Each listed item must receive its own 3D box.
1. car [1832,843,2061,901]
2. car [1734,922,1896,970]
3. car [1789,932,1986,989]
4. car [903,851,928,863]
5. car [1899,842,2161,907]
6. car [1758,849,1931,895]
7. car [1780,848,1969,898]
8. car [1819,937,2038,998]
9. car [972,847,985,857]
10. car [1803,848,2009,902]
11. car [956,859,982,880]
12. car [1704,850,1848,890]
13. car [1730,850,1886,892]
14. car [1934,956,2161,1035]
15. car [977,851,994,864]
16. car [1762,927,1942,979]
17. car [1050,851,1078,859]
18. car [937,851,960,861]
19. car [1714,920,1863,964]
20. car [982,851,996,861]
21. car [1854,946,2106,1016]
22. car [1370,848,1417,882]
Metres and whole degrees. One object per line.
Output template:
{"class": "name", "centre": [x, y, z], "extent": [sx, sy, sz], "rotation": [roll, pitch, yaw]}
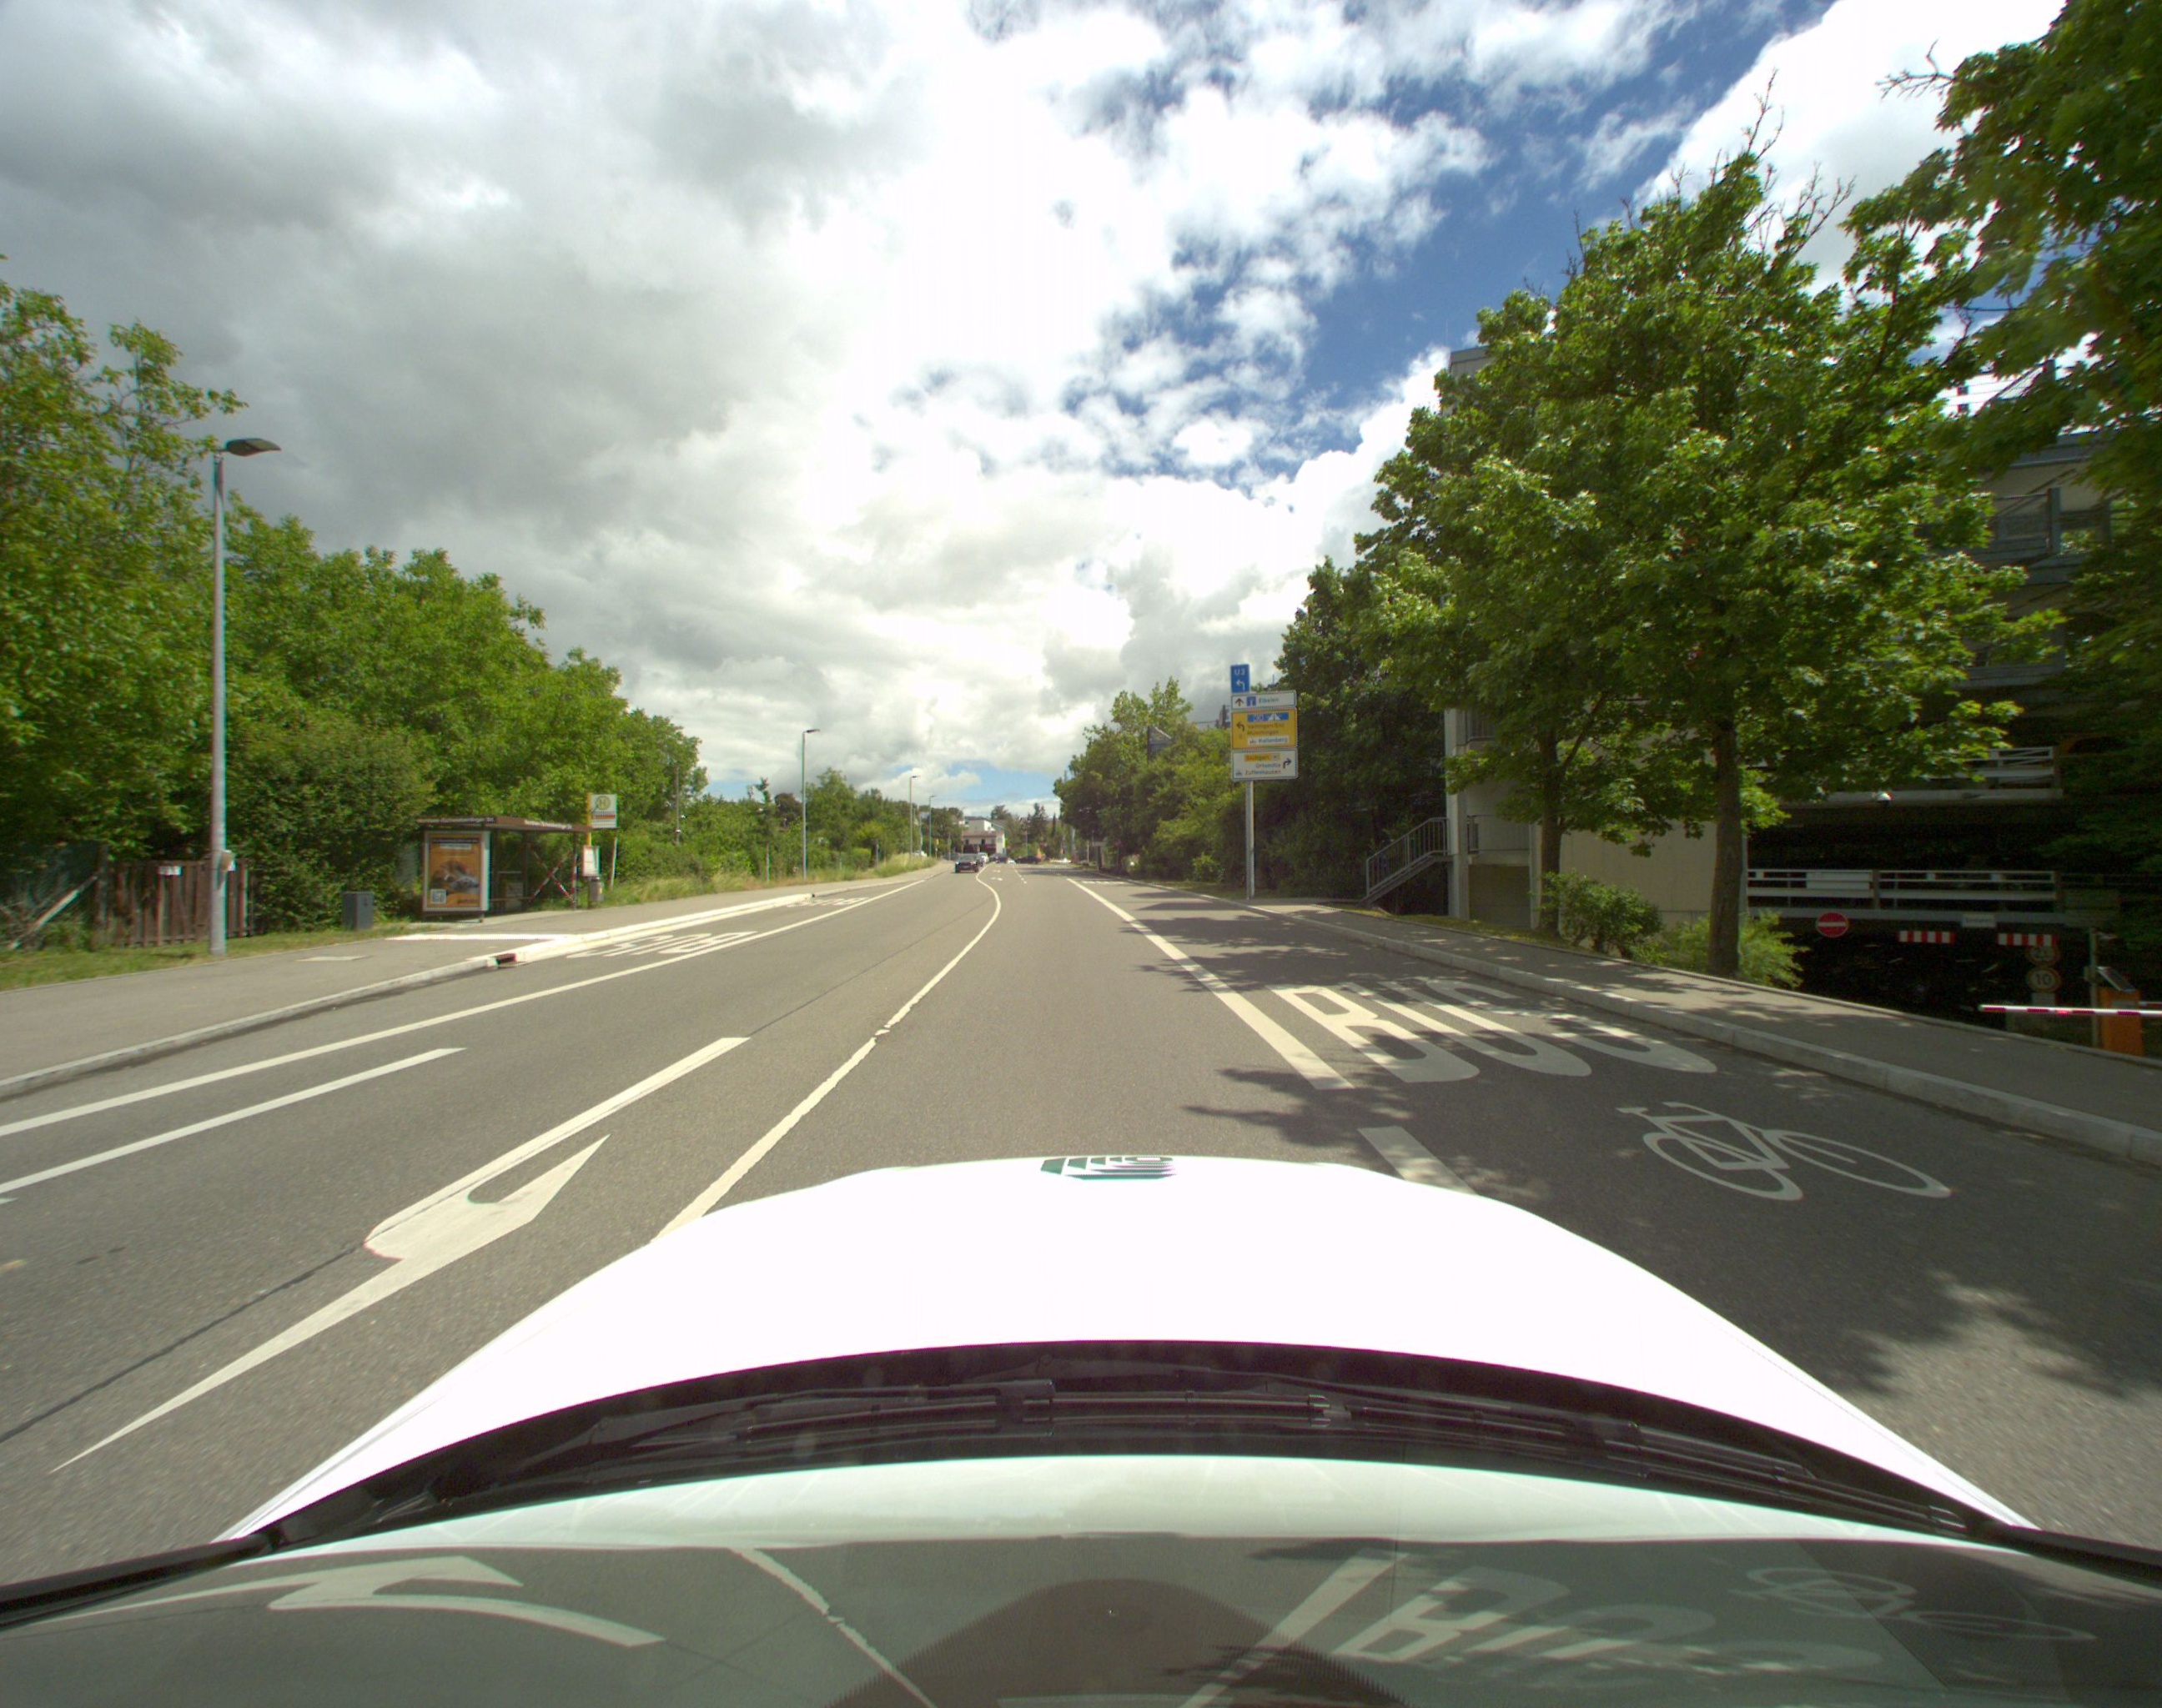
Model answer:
{"class": "car", "centre": [25.836, 0.522, 24.539], "extent": [4.275, 1.630, 2.011], "rotation": [0, 0, 23]}
{"class": "car", "centre": [28.463, 3.539, 31.782], "extent": [4.275, 1.489, 2.011], "rotation": [0, 0, 23]}
{"class": "car", "centre": [26.924, 3.516, 27.396], "extent": [4.275, 1.489, 2.011], "rotation": [0, 0, 23]}
{"class": "car", "centre": [-29.753, 0.529, 146.210], "extent": [3.969, 1.904, 2.002], "rotation": [-2, 0, 4]}
{"class": "car", "centre": [25.351, 0.520, 21.921], "extent": [4.275, 1.630, 2.011], "rotation": [0, 0, 23]}
{"class": "car", "centre": [28.228, 0.643, 30.312], "extent": [4.275, 1.630, 2.011], "rotation": [0, 0, 23]}
{"class": "car", "centre": [27.439, 0.638, 28.364], "extent": [4.275, 1.630, 2.011], "rotation": [0, 0, 23]}
{"class": "car", "centre": [26.208, 3.485, 25.411], "extent": [4.275, 1.418, 2.011], "rotation": [0, 0, 23]}
{"class": "car", "centre": [-14.592, -0.252, 116.038], "extent": [1.764, 1.442, 3.891], "rotation": [-1, 0, -6]}
{"class": "car", "centre": [26.589, 0.635, 26.464], "extent": [4.275, 1.630, 2.011], "rotation": [0, 0, 23]}
{"class": "car", "centre": [-9.481, 1.283, 69.185], "extent": [1.820, 1.557, 4.621], "rotation": [-2, 1, -5]}
{"class": "car", "centre": [29.664, 0.671, 34.945], "extent": [4.275, 1.630, 2.011], "rotation": [0, 0, 23]}
{"class": "car", "centre": [29.102, 0.654, 32.797], "extent": [4.275, 1.630, 2.011], "rotation": [0, 0, 23]}
{"class": "car", "centre": [24.157, 3.408, 19.794], "extent": [4.275, 1.418, 2.011], "rotation": [0, 0, 23]}
{"class": "car", "centre": [-10.862, 0.409, 92.685], "extent": [1.764, 1.442, 4.367], "rotation": [-1, 0, -6]}
{"class": "car", "centre": [27.668, 3.515, 29.432], "extent": [4.275, 1.489, 2.011], "rotation": [0, 0, 23]}
{"class": "car", "centre": [-2.989, 0.171, 142.485], "extent": [4.604, 1.291, 1.900], "rotation": [-1, 0, -17]}
{"class": "car", "centre": [-24.375, 0.430, 149.775], "extent": [3.973, 1.712, 1.895], "rotation": [-2, 0, 0]}
{"class": "car", "centre": [29.235, 3.601, 33.845], "extent": [4.275, 1.489, 2.011], "rotation": [0, 0, 23]}
{"class": "car", "centre": [-14.847, 0.313, 131.491], "extent": [1.816, 1.654, 4.529], "rotation": [-1, 0, -2]}
{"class": "car", "centre": [24.773, 3.458, 22.684], "extent": [4.275, 1.418, 2.011], "rotation": [0, 0, 23]}
{"class": "car", "centre": [17.971, 0.642, 47.043], "extent": [1.865, 1.799, 3.717], "rotation": [-2, -1, 11]}
